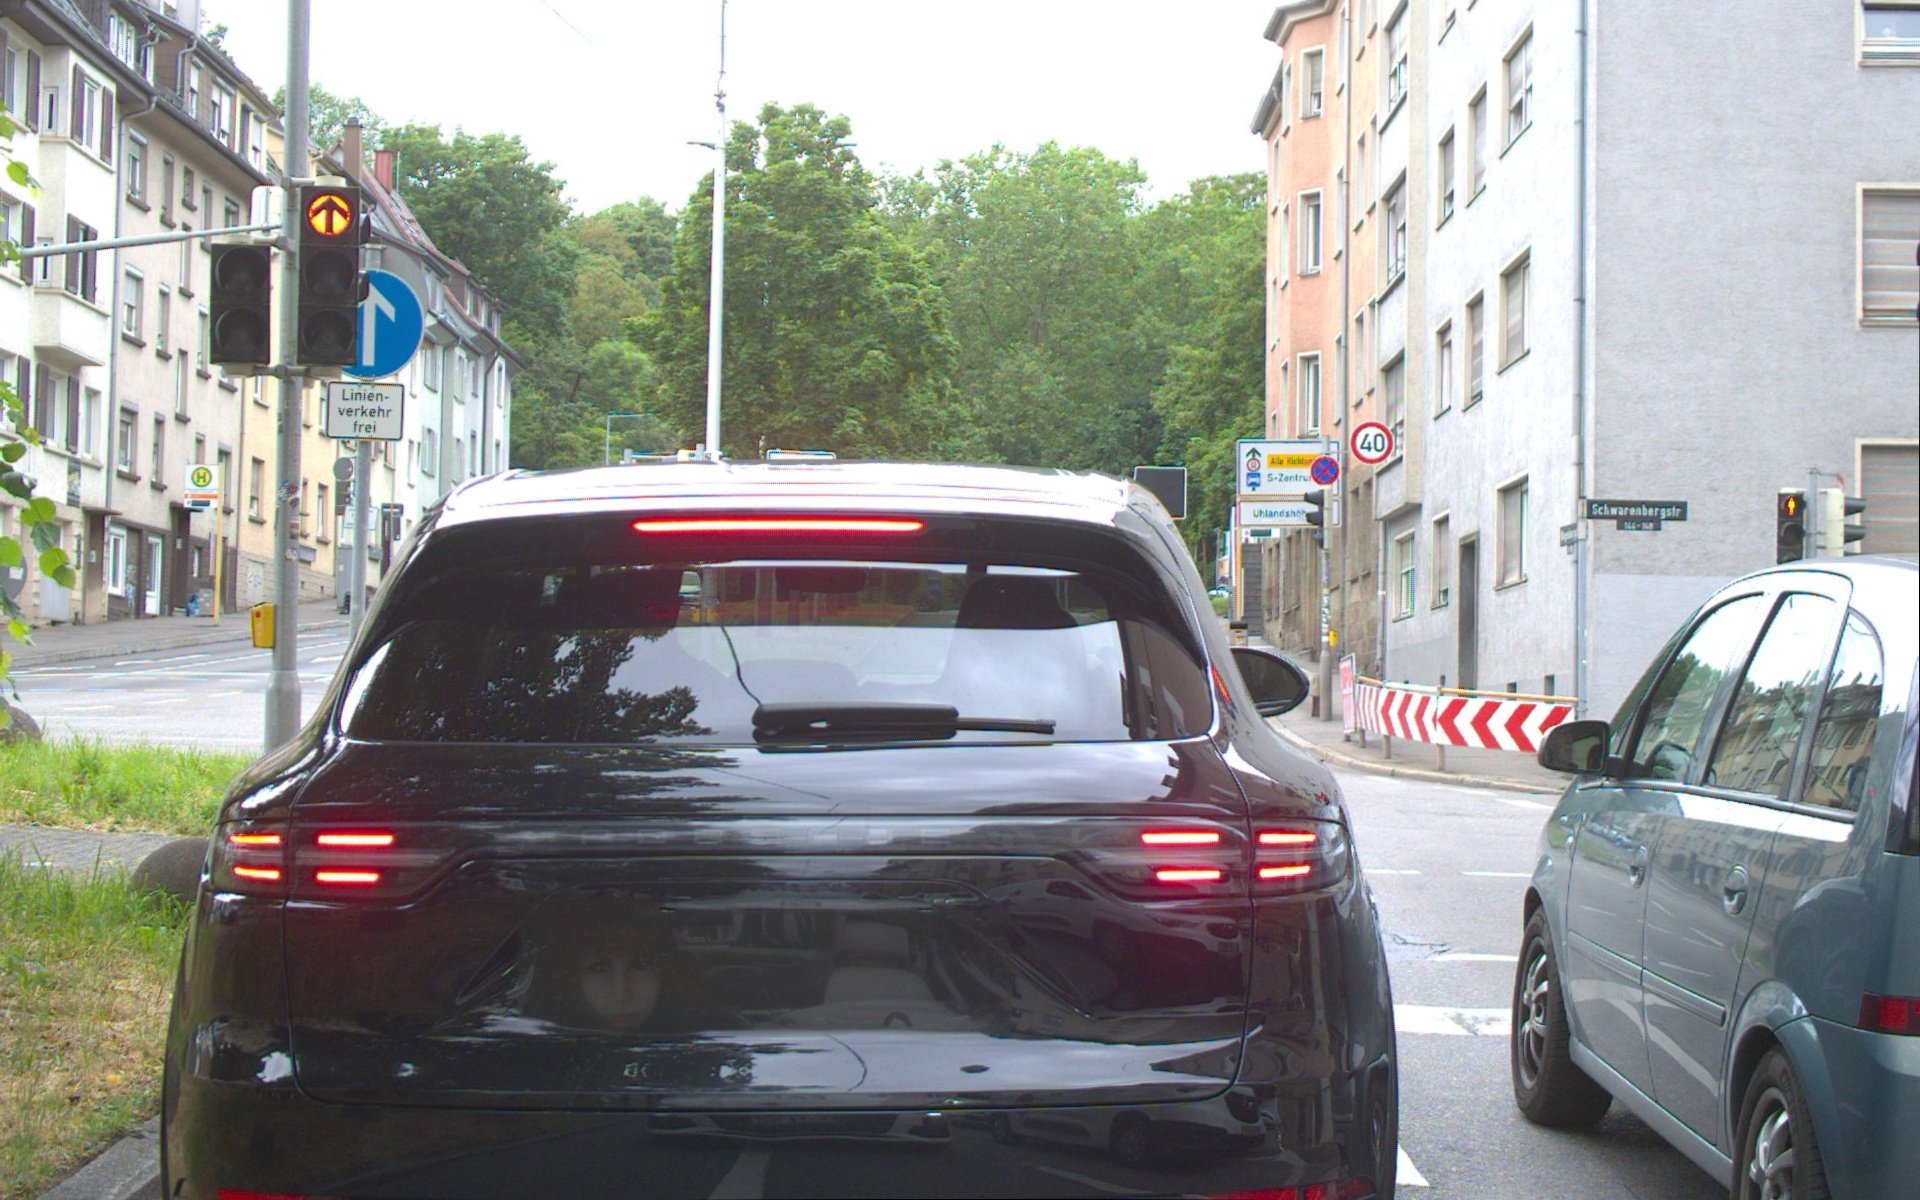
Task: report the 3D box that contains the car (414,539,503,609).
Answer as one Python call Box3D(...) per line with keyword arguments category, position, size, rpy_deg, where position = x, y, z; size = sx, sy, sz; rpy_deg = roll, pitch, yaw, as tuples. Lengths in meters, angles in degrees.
Box3D(category="car", position=(-15.226, -0.796, 104.574), size=(2.016, 2.038, 4.667), rpy_deg=(1, 1, 0))

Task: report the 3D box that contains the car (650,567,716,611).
Box3D(category="car", position=(-9.162, -0.375, 113.906), size=(1.862, 1.383, 4.094), rpy_deg=(1, 1, 0))

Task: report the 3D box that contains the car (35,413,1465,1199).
Box3D(category="car", position=(-0.310, 0.561, 6.712), size=(1.955, 1.669, 4.000), rpy_deg=(0, 1, -1))

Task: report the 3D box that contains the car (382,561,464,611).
Box3D(category="car", position=(-15.413, -0.410, 98.845), size=(1.739, 1.382, 3.814), rpy_deg=(1, 1, 0))

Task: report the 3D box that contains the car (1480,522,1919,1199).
Box3D(category="car", position=(2.354, 0.693, 7.879), size=(1.628, 1.592, 3.669), rpy_deg=(4, 1, -1))

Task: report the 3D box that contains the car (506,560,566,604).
Box3D(category="car", position=(-15.396, -0.656, 124.910), size=(1.689, 1.533, 3.814), rpy_deg=(1, 1, 0))
